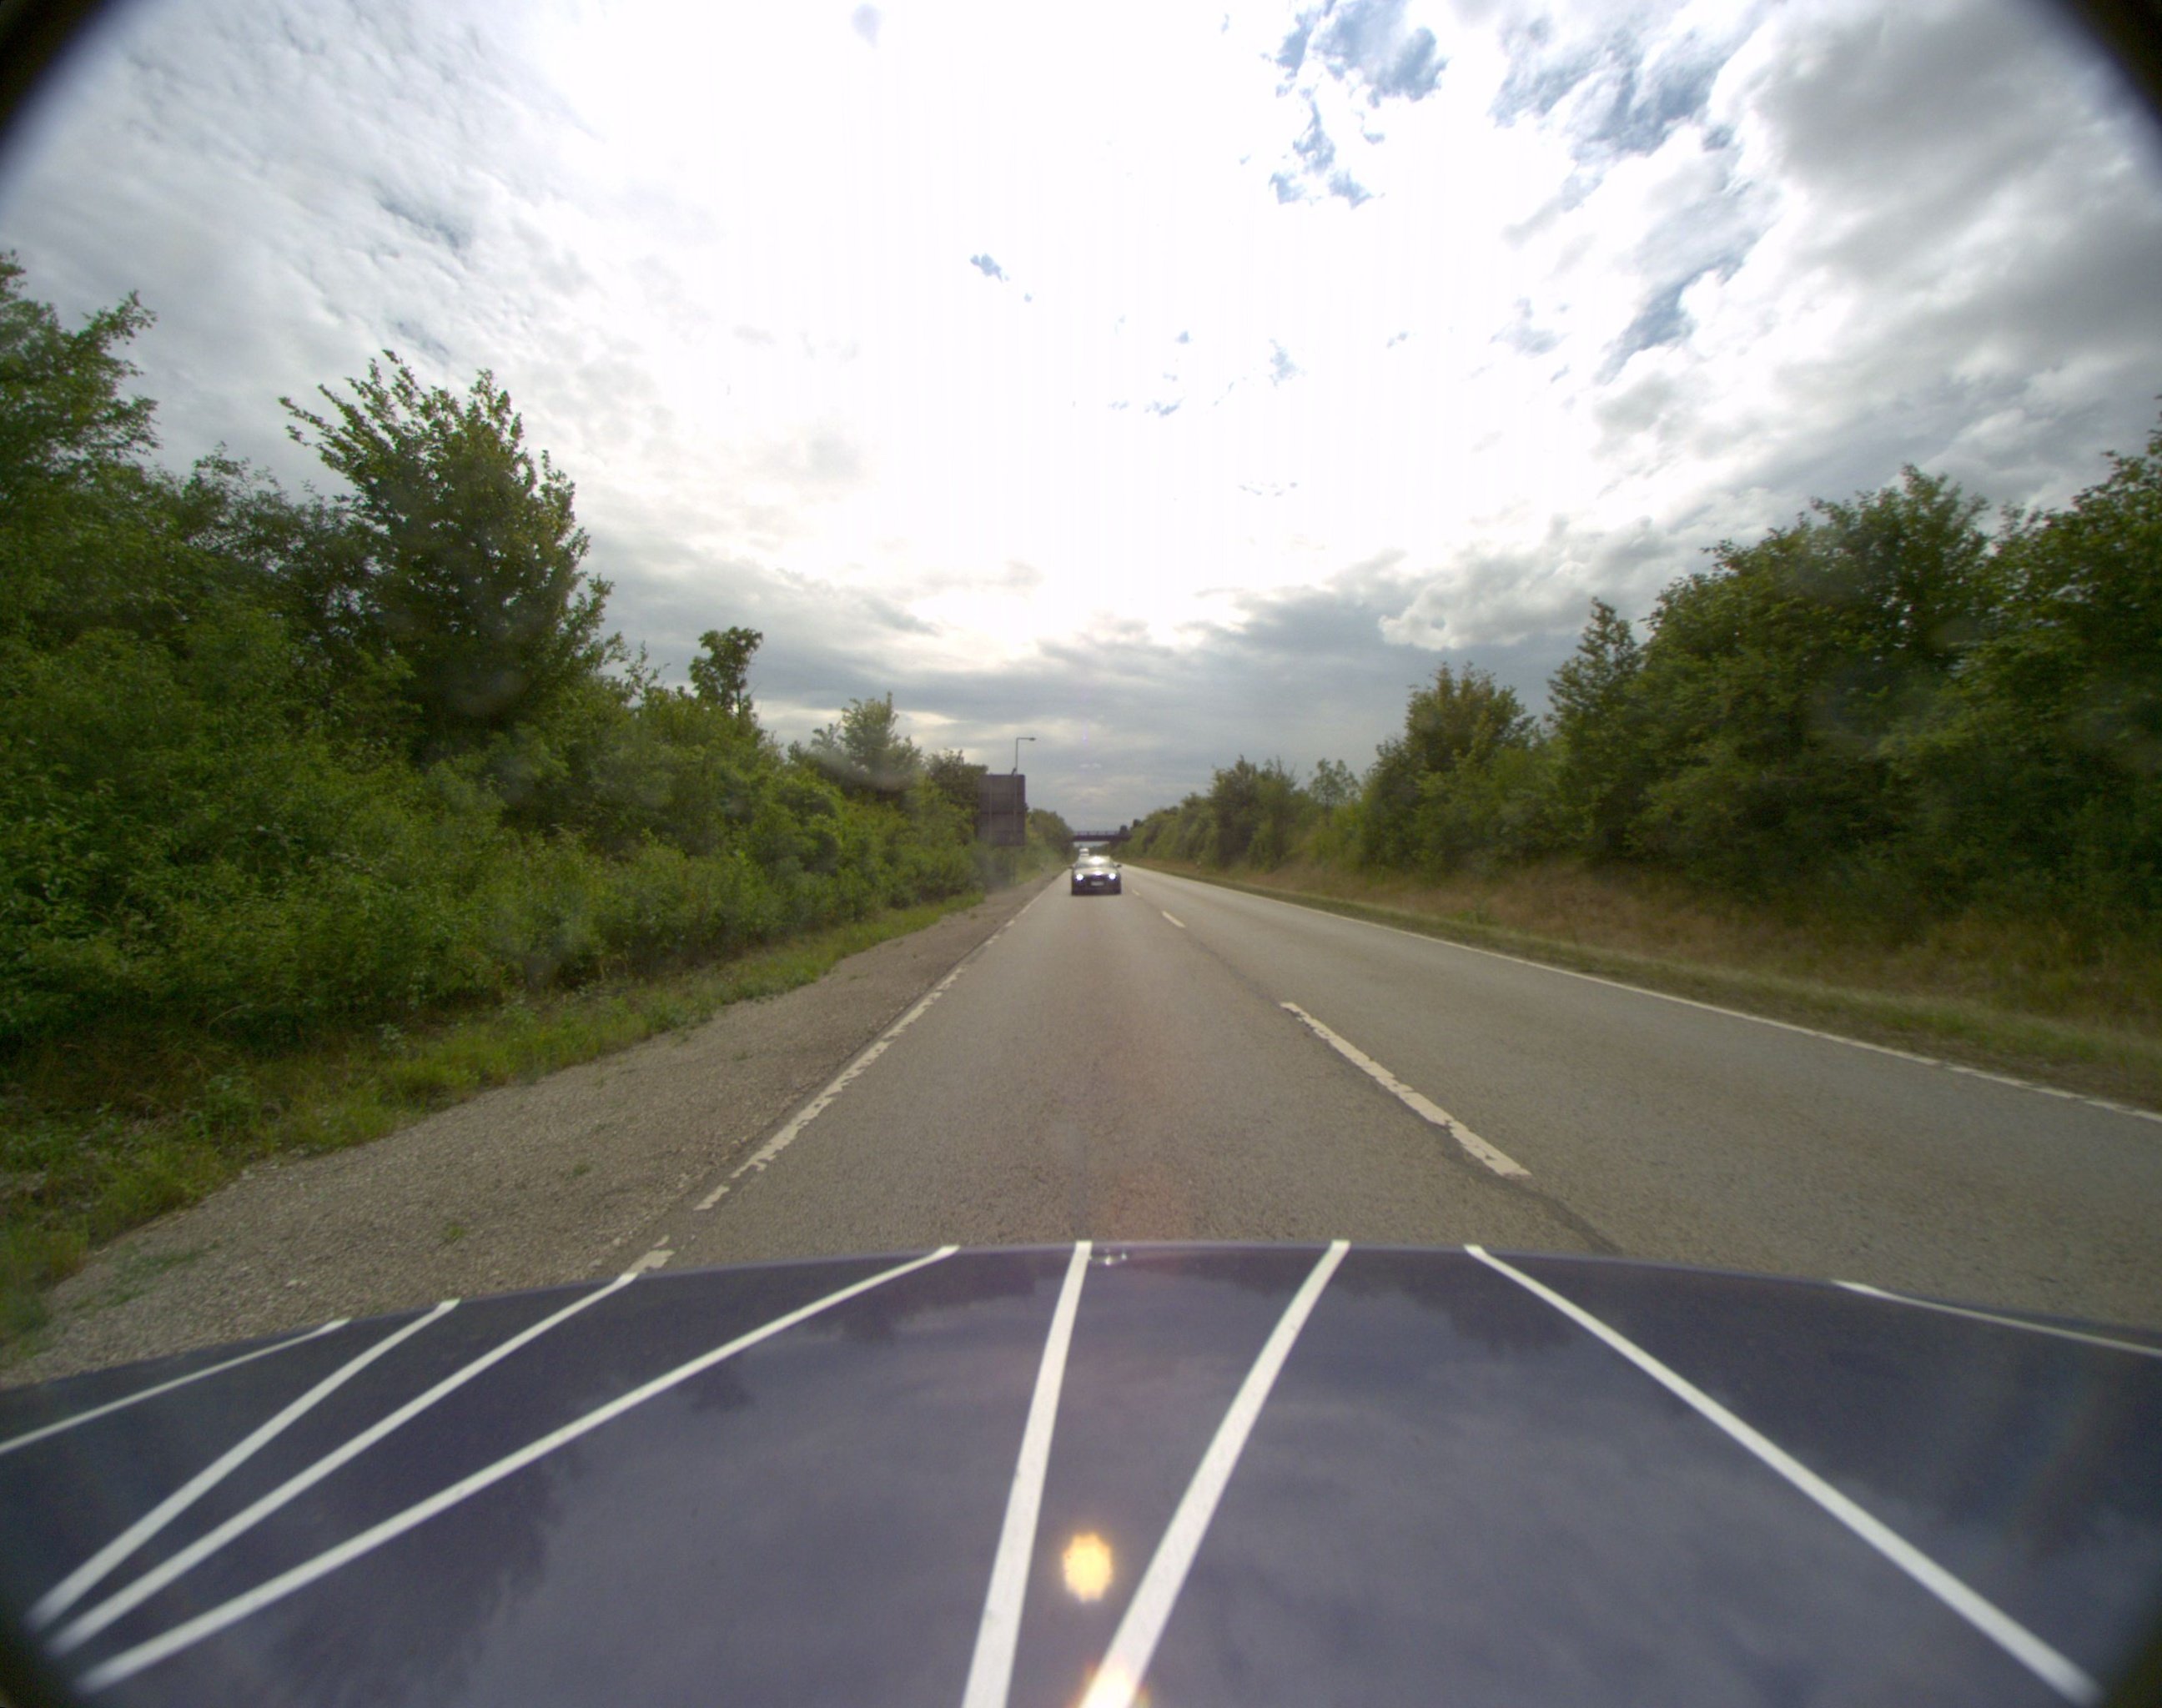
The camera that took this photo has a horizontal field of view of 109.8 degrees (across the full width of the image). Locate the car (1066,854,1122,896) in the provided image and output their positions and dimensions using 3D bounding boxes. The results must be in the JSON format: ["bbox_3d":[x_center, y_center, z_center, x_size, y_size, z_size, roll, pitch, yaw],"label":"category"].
[{"bbox_3d":[0.469,0.775,30.061,1.998,1.436,4.640,-2,1,0],"label":"car"}]

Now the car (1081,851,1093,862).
[{"bbox_3d":[0.915,0.351,121.171,1.870,1.597,3.999,-1,1,0],"label":"car"}]

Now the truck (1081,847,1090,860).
[{"bbox_3d":[0.872,-0.127,154.181,1.802,2.518,6.685,-2,1,0],"label":"truck"}]
